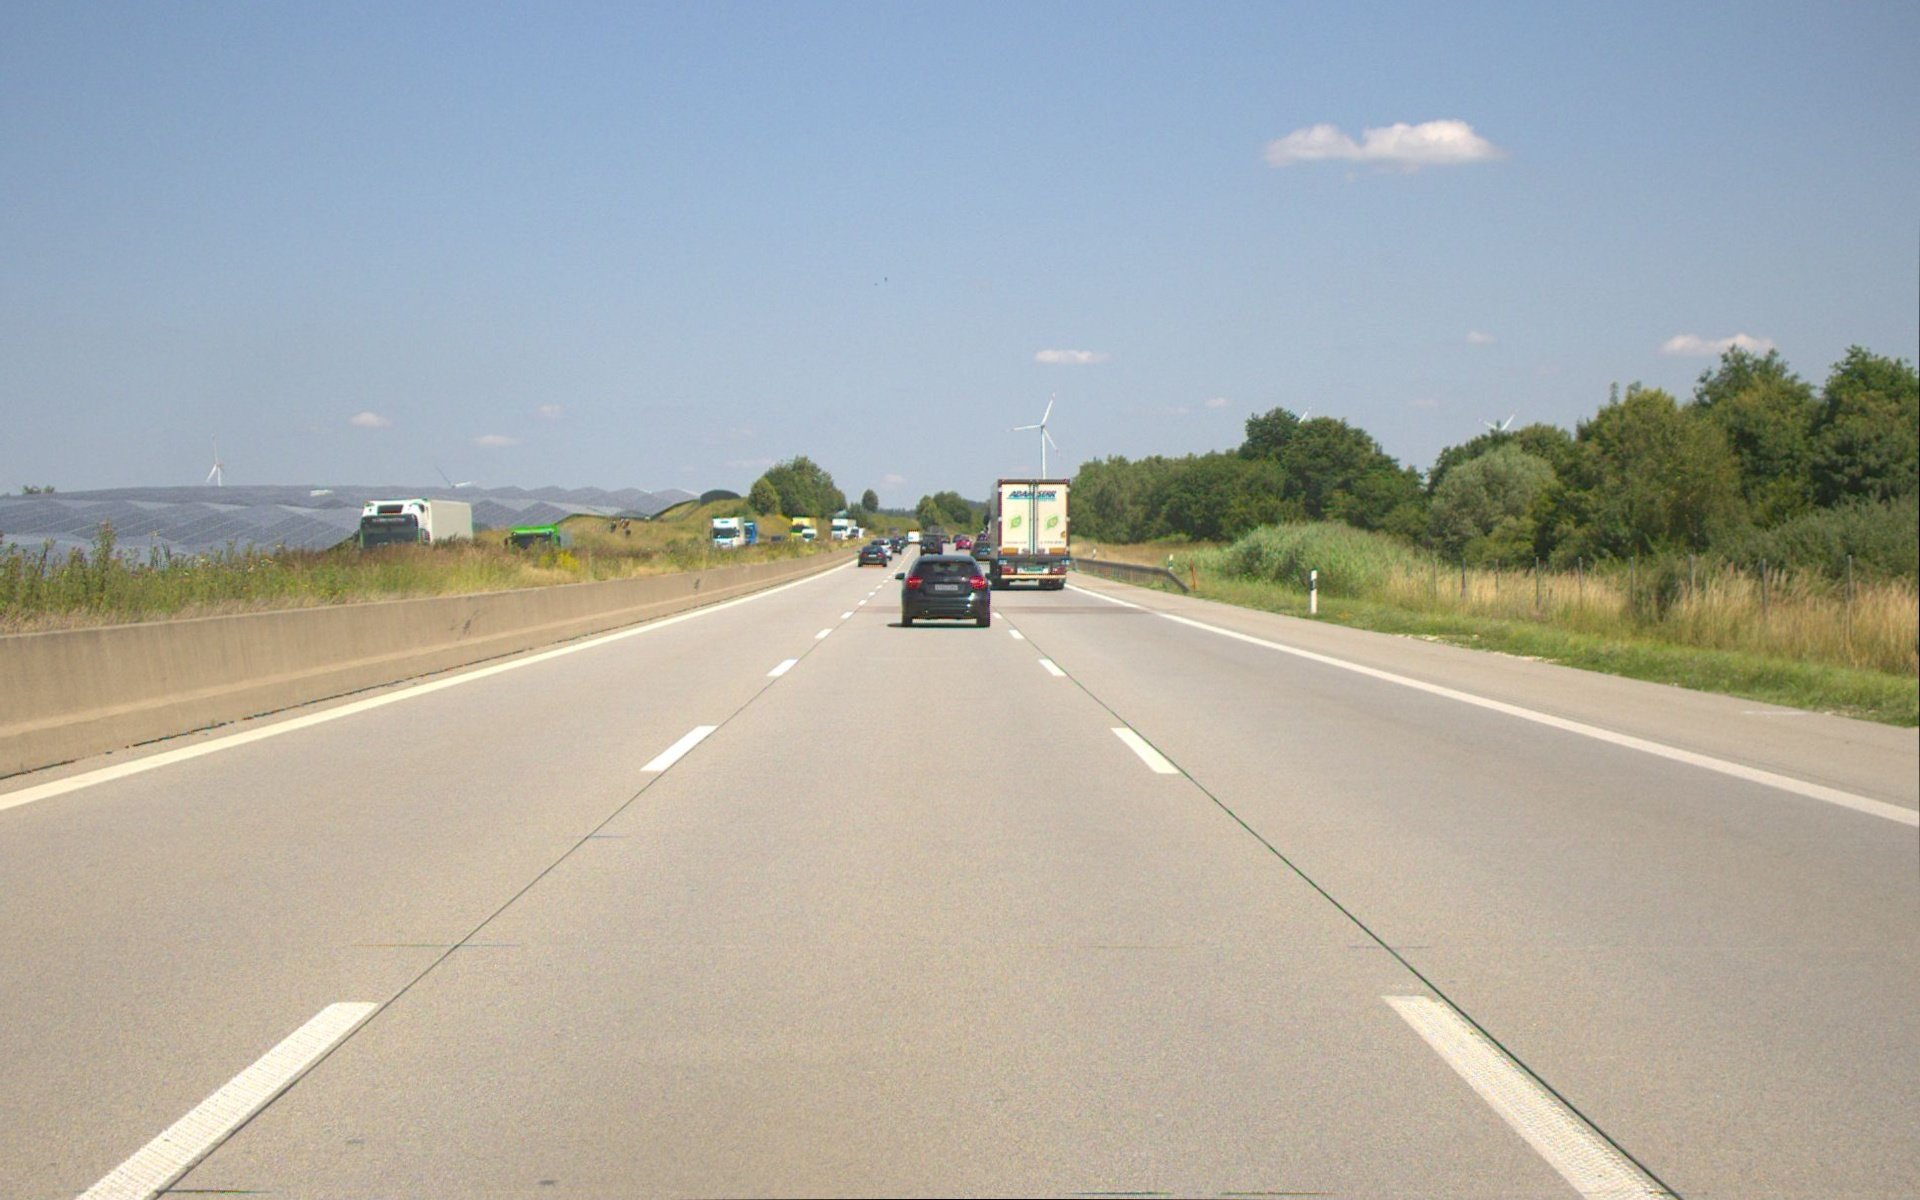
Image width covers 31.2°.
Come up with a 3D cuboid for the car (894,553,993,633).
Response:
[{"bbox_3d":[-0.357,-0.166,69.442,1.910,1.487,4.192,1,1,-1],"label":"car"}]

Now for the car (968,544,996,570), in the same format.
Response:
[{"bbox_3d":[1.605,-3.080,246.188,1.827,1.900,4.000,1,1,3],"label":"car"}]

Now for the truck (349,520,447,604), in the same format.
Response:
[{"bbox_3d":[-21.818,-1.468,133.677,2.832,3.146,5.827,-1,1,0],"label":"truck"}]

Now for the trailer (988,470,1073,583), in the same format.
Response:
[{"bbox_3d":[2.607,-2.760,130.180,2.852,4.029,12.714,1,1,0],"label":"trailer"}]

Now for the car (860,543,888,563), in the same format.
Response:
[{"bbox_3d":[-5.529,-3.039,221.282,1.655,1.192,3.960,3,1,0],"label":"car"}]
